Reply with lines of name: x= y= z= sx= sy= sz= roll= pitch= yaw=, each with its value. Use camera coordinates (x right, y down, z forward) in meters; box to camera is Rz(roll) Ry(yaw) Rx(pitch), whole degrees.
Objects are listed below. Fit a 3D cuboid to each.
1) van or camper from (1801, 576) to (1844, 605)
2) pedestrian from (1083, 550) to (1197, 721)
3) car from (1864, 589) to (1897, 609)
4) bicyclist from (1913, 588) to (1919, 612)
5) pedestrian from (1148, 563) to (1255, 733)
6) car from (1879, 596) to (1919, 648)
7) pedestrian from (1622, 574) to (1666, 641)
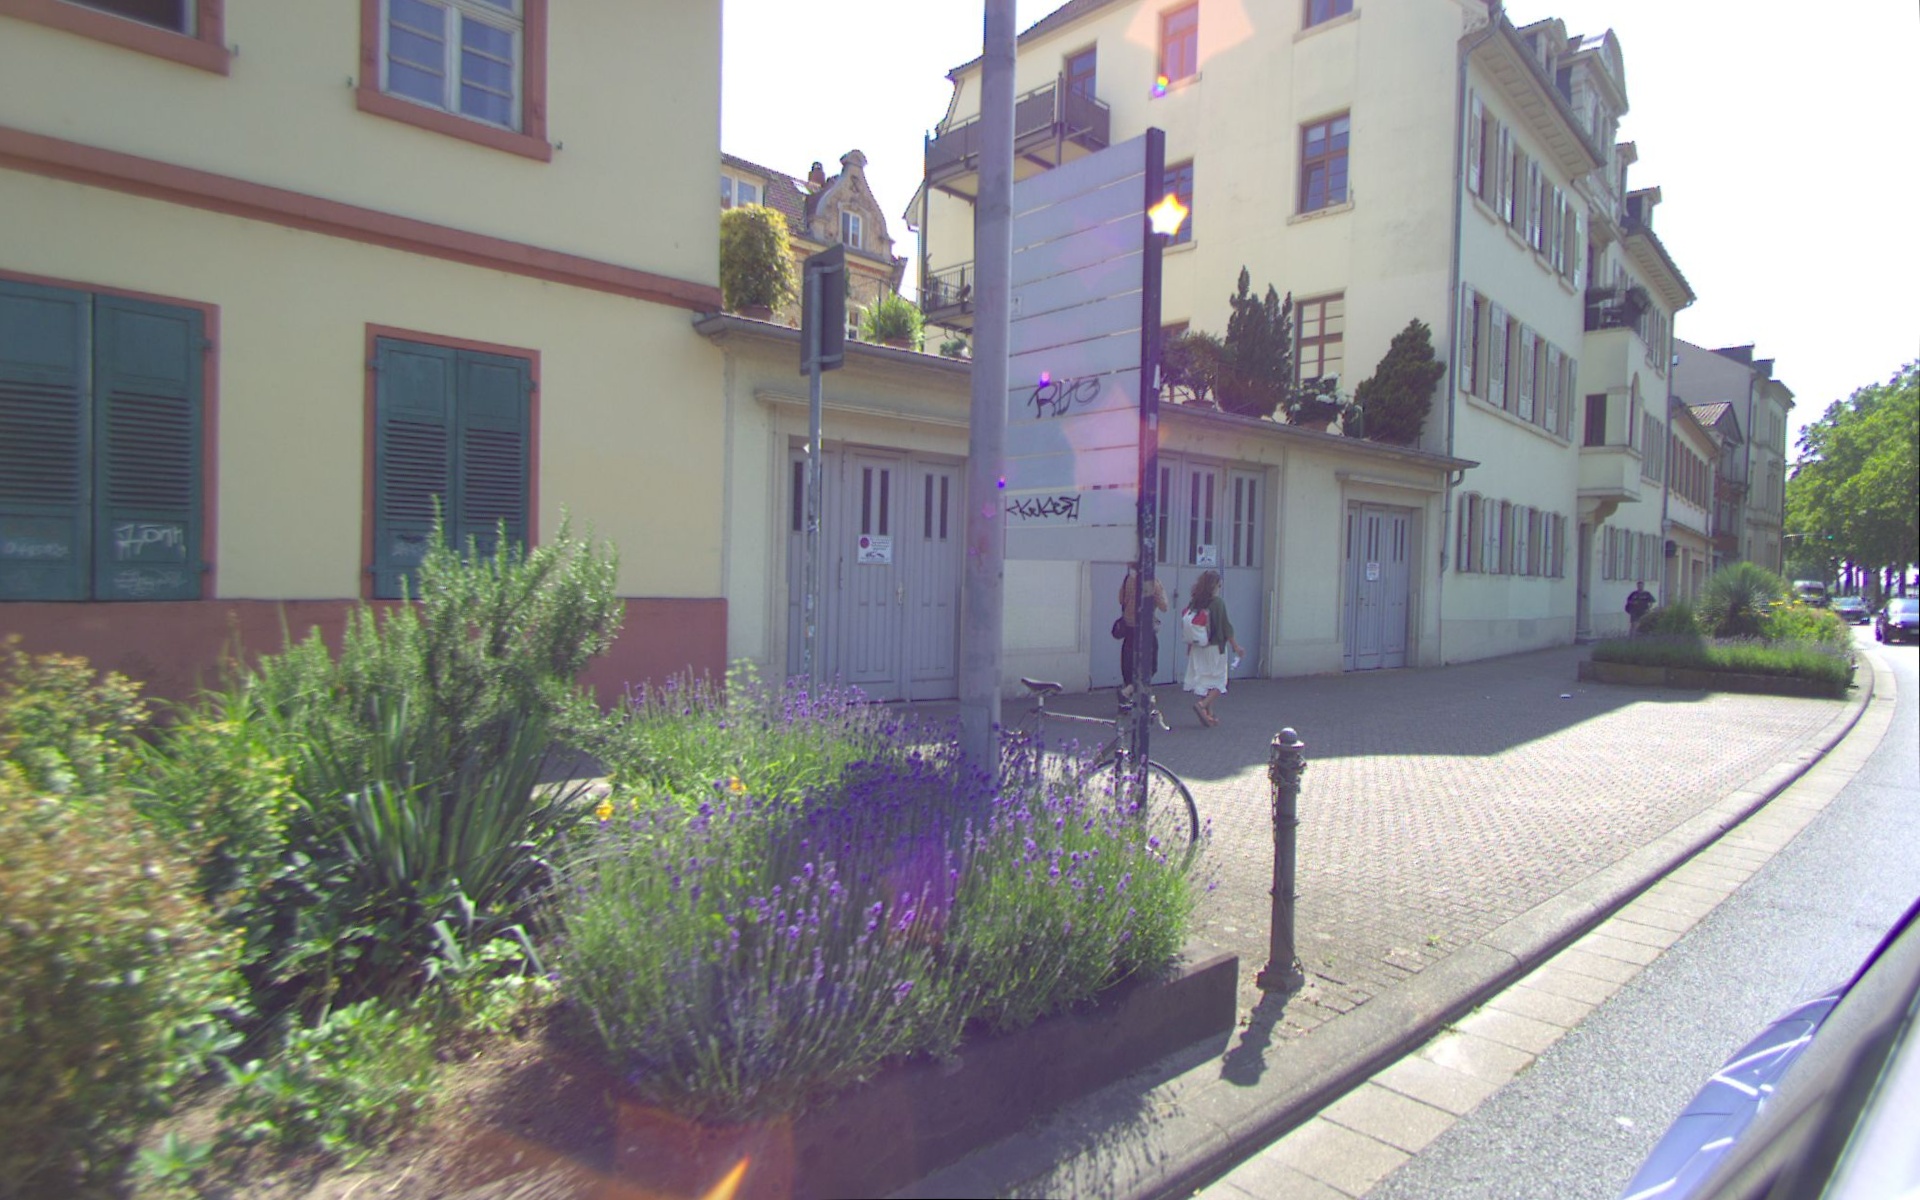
van or camper: x=74.823 y=-0.852 z=87.853 sx=2.426 sy=2.312 sz=6.120 roll=3 pitch=3 yaw=37
pedestrian: x=1.920 y=0.346 z=10.808 sx=0.918 sy=1.719 sz=0.739 roll=0 pitch=3 yaw=-44
car: x=75.068 y=-0.073 z=82.585 sx=1.698 sy=1.463 sz=4.033 roll=2 pitch=0 yaw=39
bicyclist: x=62.379 y=0.022 z=65.595 sx=0.766 sy=1.551 sz=1.010 roll=1 pitch=-1 yaw=40
pedestrian: x=2.432 y=0.447 z=10.203 sx=0.684 sy=1.615 sz=0.762 roll=0 pitch=2 yaw=-43
car: x=28.992 y=0.656 z=30.328 sx=4.666 sy=1.442 sz=1.872 roll=0 pitch=1 yaw=-44
pedestrian: x=18.459 y=0.195 z=27.305 sx=0.762 sy=1.733 sz=0.685 roll=7 pitch=5 yaw=42
